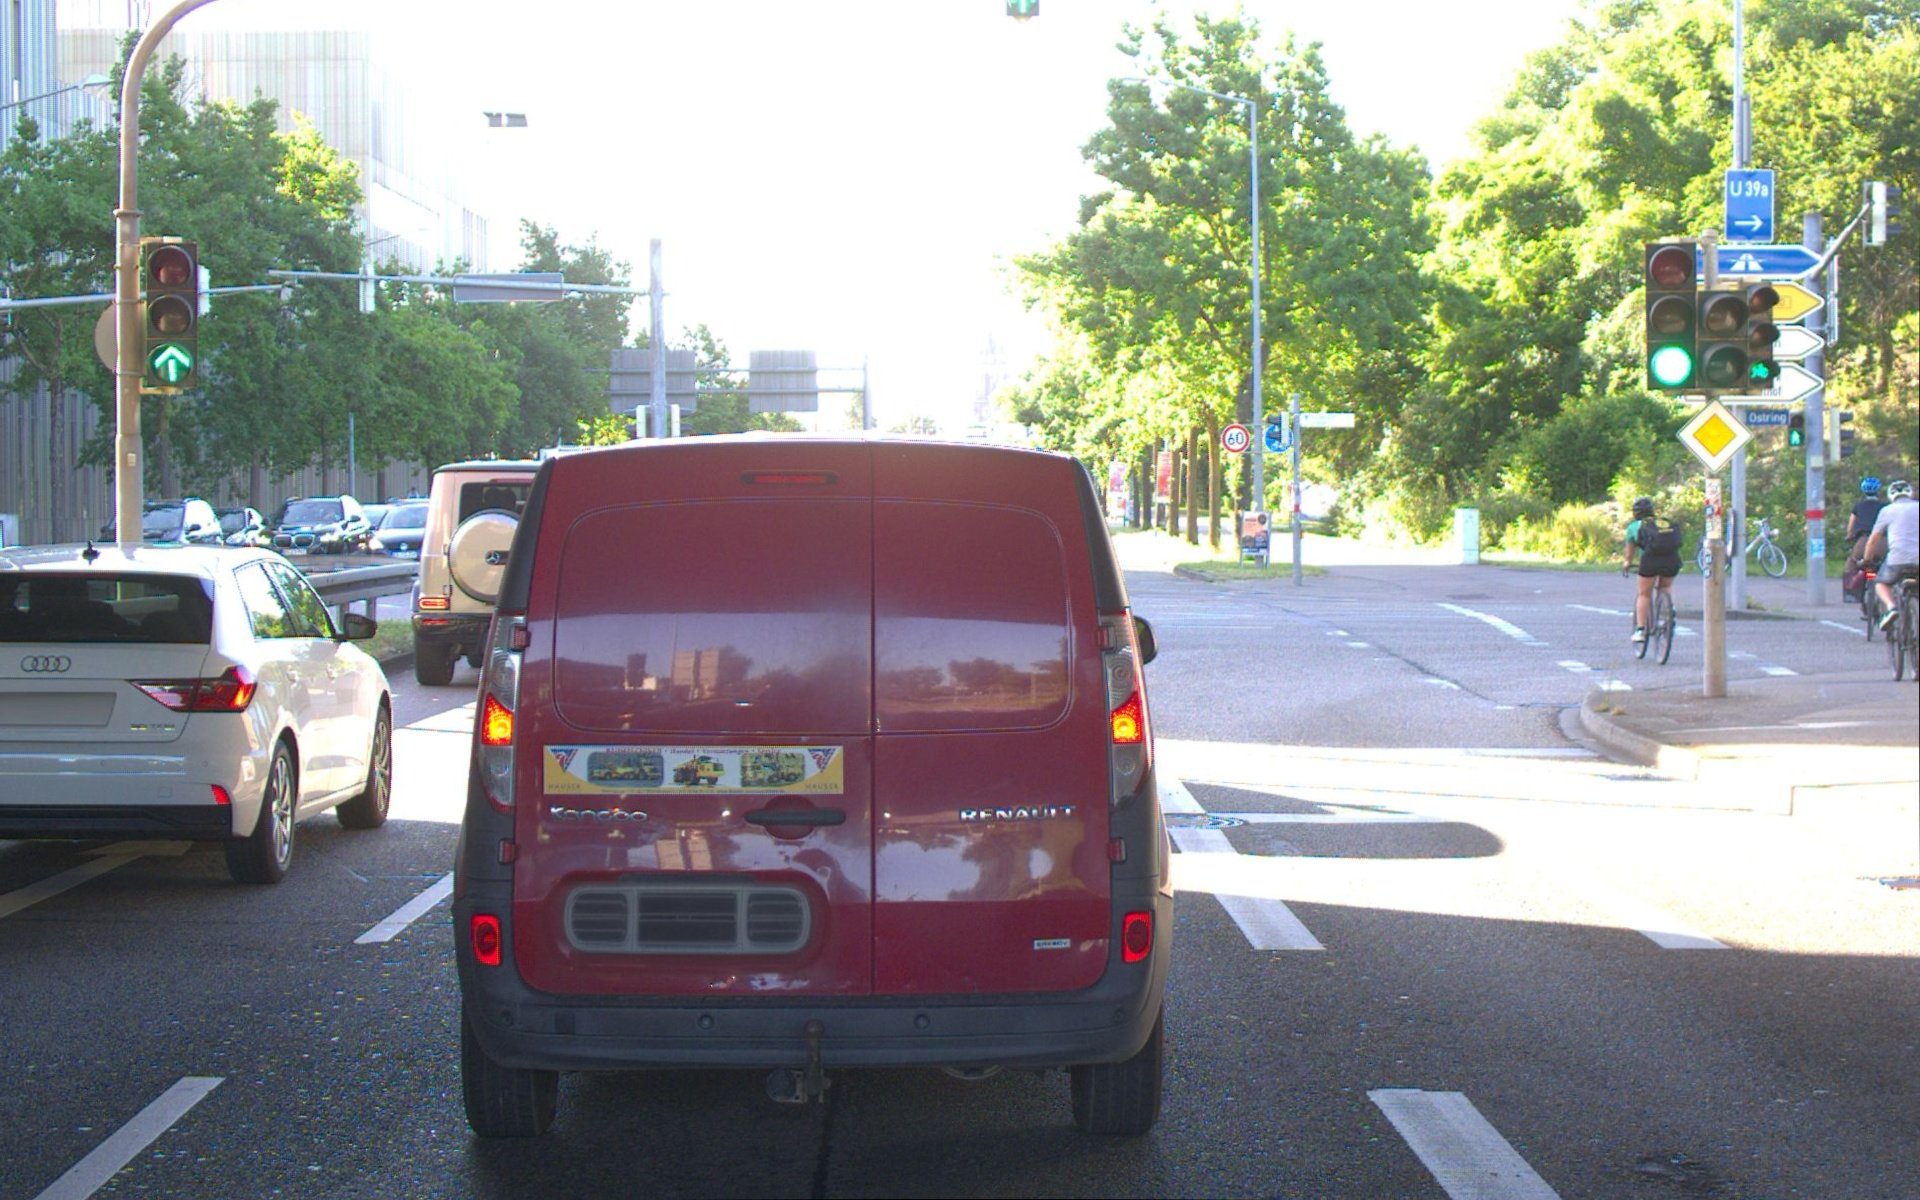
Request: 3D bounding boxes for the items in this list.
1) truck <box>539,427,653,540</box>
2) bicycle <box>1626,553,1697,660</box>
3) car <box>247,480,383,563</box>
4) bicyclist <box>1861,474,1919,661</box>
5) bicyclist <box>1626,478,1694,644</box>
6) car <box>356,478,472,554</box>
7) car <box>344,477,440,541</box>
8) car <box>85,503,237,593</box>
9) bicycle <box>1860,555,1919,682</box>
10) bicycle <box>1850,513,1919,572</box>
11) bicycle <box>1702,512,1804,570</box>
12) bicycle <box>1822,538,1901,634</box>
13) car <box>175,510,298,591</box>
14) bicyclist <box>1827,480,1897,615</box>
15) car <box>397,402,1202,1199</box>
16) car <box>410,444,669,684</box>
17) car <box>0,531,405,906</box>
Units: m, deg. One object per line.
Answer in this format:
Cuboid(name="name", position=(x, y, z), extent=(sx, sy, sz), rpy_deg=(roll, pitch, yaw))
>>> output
Cuboid(name="truck", position=(-10.330, -3.285, 98.037), extent=(2.409, 3.016, 6.657), rpy_deg=(-2, 1, 0))
Cuboid(name="bicycle", position=(6.912, 0.061, 33.926), extent=(0.592, 1.020, 1.750), rpy_deg=(1, 0, 9))
Cuboid(name="car", position=(-13.653, -1.672, 72.977), extent=(1.825, 1.620, 4.529), rpy_deg=(-2, 1, 2))
Cuboid(name="bicyclist", position=(7.909, -0.272, 28.819), extent=(0.592, 1.543, 0.769), rpy_deg=(1, 0, 9))
Cuboid(name="bicyclist", position=(6.902, -0.387, 33.919), extent=(0.592, 1.608, 0.942), rpy_deg=(1, 0, 9))
Cuboid(name="car", position=(-11.071, -1.703, 69.978), extent=(1.636, 1.438, 4.077), rpy_deg=(-2, 1, 0))
Cuboid(name="car", position=(-13.355, -2.131, 81.005), extent=(1.646, 1.399, 3.978), rpy_deg=(-2, 1, -1))
Cuboid(name="car", position=(-16.413, -1.092, 70.858), extent=(1.825, 1.731, 4.629), rpy_deg=(-2, 1, 2))
Cuboid(name="bicycle", position=(7.913, 0.148, 28.690), extent=(0.592, 1.020, 1.750), rpy_deg=(1, 0, 9))
Cuboid(name="bicycle", position=(16.696, -1.008, 60.883), extent=(1.745, 1.020, 0.593), rpy_deg=(1, 0, 9))
Cuboid(name="bicycle", position=(14.320, -1.071, 62.088), extent=(1.745, 1.020, 0.593), rpy_deg=(1, 0, 9))
Cuboid(name="bicycle", position=(9.967, -0.153, 38.040), extent=(0.672, 1.020, 2.054), rpy_deg=(1, 0, 10))
Cuboid(name="car", position=(-16.466, -1.148, 78.434), extent=(1.824, 1.731, 4.530), rpy_deg=(-2, 1, 0))
Cuboid(name="bicyclist", position=(9.943, -0.572, 37.919), extent=(0.665, 1.469, 0.751), rpy_deg=(1, 0, 10))
Cuboid(name="car", position=(-0.387, 0.446, 9.810), extent=(1.805, 1.788, 4.000), rpy_deg=(1, 0, -1))
Cuboid(name="car", position=(-3.714, -0.311, 31.047), extent=(1.801, 1.982, 4.589), rpy_deg=(1, 0, -1))
Cuboid(name="car", position=(-3.701, 0.430, 15.429), extent=(1.813, 1.433, 3.731), rpy_deg=(0, 2, 0))
